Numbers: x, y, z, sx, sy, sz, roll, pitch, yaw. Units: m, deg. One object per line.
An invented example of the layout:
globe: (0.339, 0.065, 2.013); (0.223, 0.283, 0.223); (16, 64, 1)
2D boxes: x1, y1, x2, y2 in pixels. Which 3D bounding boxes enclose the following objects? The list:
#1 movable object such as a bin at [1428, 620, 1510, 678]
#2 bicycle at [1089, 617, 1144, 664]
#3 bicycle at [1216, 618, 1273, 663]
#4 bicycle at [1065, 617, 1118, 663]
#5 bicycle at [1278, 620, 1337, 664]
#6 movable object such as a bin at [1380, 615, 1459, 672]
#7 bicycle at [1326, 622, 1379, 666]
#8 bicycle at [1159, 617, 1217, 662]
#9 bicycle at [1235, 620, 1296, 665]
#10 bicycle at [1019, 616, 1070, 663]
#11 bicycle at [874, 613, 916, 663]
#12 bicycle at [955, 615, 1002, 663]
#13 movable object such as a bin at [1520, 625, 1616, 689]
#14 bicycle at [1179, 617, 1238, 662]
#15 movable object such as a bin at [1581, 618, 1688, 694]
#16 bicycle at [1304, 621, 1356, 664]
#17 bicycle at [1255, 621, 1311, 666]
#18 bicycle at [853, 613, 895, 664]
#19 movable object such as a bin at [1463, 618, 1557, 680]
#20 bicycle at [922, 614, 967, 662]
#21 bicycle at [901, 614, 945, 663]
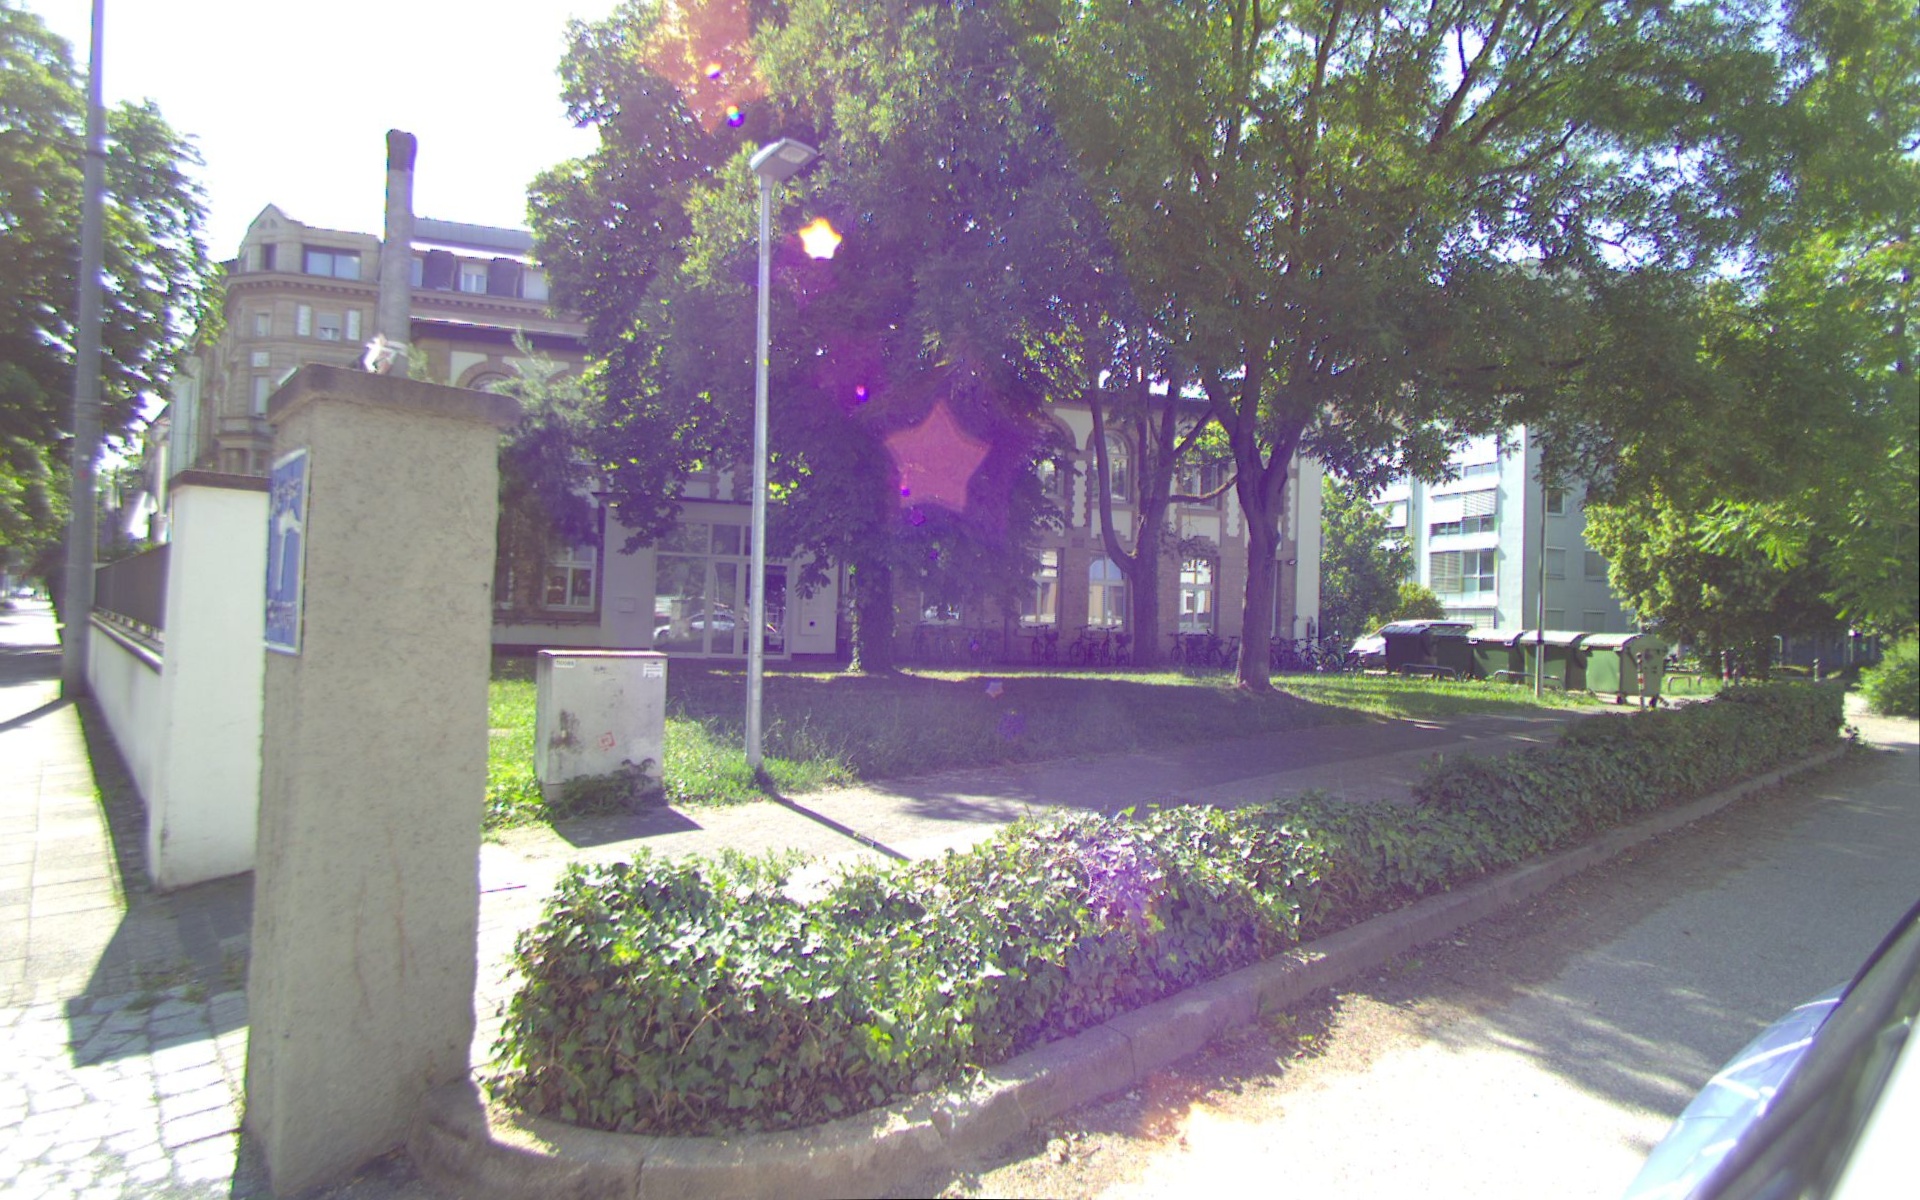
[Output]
movable object such as a bin: (12.585, 1.193, 25.066); (1.190, 1.366, 1.355); (2, -1, -20)
bicycle: (4.209, 1.069, 27.358); (0.575, 1.176, 2.107); (2, -1, -17)
bicycle: (7.918, 1.111, 28.278); (0.575, 1.176, 1.925); (2, -1, -17)
bicycle: (3.493, 1.051, 27.105); (0.575, 1.176, 2.107); (2, -1, -17)
bicycle: (9.934, 1.186, 28.995); (0.600, 1.176, 1.855); (2, -1, -17)
movable object such as a bin: (12.029, 1.127, 26.542); (1.224, 1.427, 1.439); (2, -1, -21)
bicycle: (11.211, 1.246, 28.959); (0.546, 1.176, 1.947); (1, -1, -7)
bicycle: (6.251, 1.064, 27.828); (0.575, 1.176, 2.107); (2, -1, -17)
bicycle: (8.598, 1.185, 28.557); (0.575, 1.176, 2.107); (2, -1, -17)
bicycle: (2.206, 1.022, 26.755); (0.575, 1.176, 2.107); (2, -1, -17)
bicycle: (-1.665, 0.941, 25.613); (0.575, 1.176, 2.107); (2, -1, -17)
bicycle: (0.469, 0.984, 26.318); (0.575, 1.176, 2.107); (2, -1, -17)
movable object such as a bin: (13.283, 1.230, 22.137); (1.190, 1.317, 1.358); (2, -1, -20)
bicycle: (6.863, 1.070, 28.072); (0.575, 1.176, 2.107); (2, -1, -17)
movable object such as a bin: (13.774, 1.122, 20.707); (1.191, 1.481, 1.393); (1, -1, -5)
bicycle: (10.585, 1.196, 29.030); (0.496, 1.176, 1.808); (2, -1, -12)
bicycle: (9.141, 1.217, 28.700); (0.484, 1.176, 1.918); (2, -1, -17)
bicycle: (-2.152, 0.934, 25.002); (0.575, 1.176, 2.107); (2, -1, -17)
movable object such as a bin: (12.771, 1.126, 23.543); (1.190, 1.379, 1.505); (2, -1, -20)
bicycle: (-0.422, 0.958, 26.115); (0.575, 1.176, 2.107); (2, -1, -17)
bicycle: (-0.970, 0.953, 25.819); (0.575, 1.176, 2.107); (2, -1, -17)
